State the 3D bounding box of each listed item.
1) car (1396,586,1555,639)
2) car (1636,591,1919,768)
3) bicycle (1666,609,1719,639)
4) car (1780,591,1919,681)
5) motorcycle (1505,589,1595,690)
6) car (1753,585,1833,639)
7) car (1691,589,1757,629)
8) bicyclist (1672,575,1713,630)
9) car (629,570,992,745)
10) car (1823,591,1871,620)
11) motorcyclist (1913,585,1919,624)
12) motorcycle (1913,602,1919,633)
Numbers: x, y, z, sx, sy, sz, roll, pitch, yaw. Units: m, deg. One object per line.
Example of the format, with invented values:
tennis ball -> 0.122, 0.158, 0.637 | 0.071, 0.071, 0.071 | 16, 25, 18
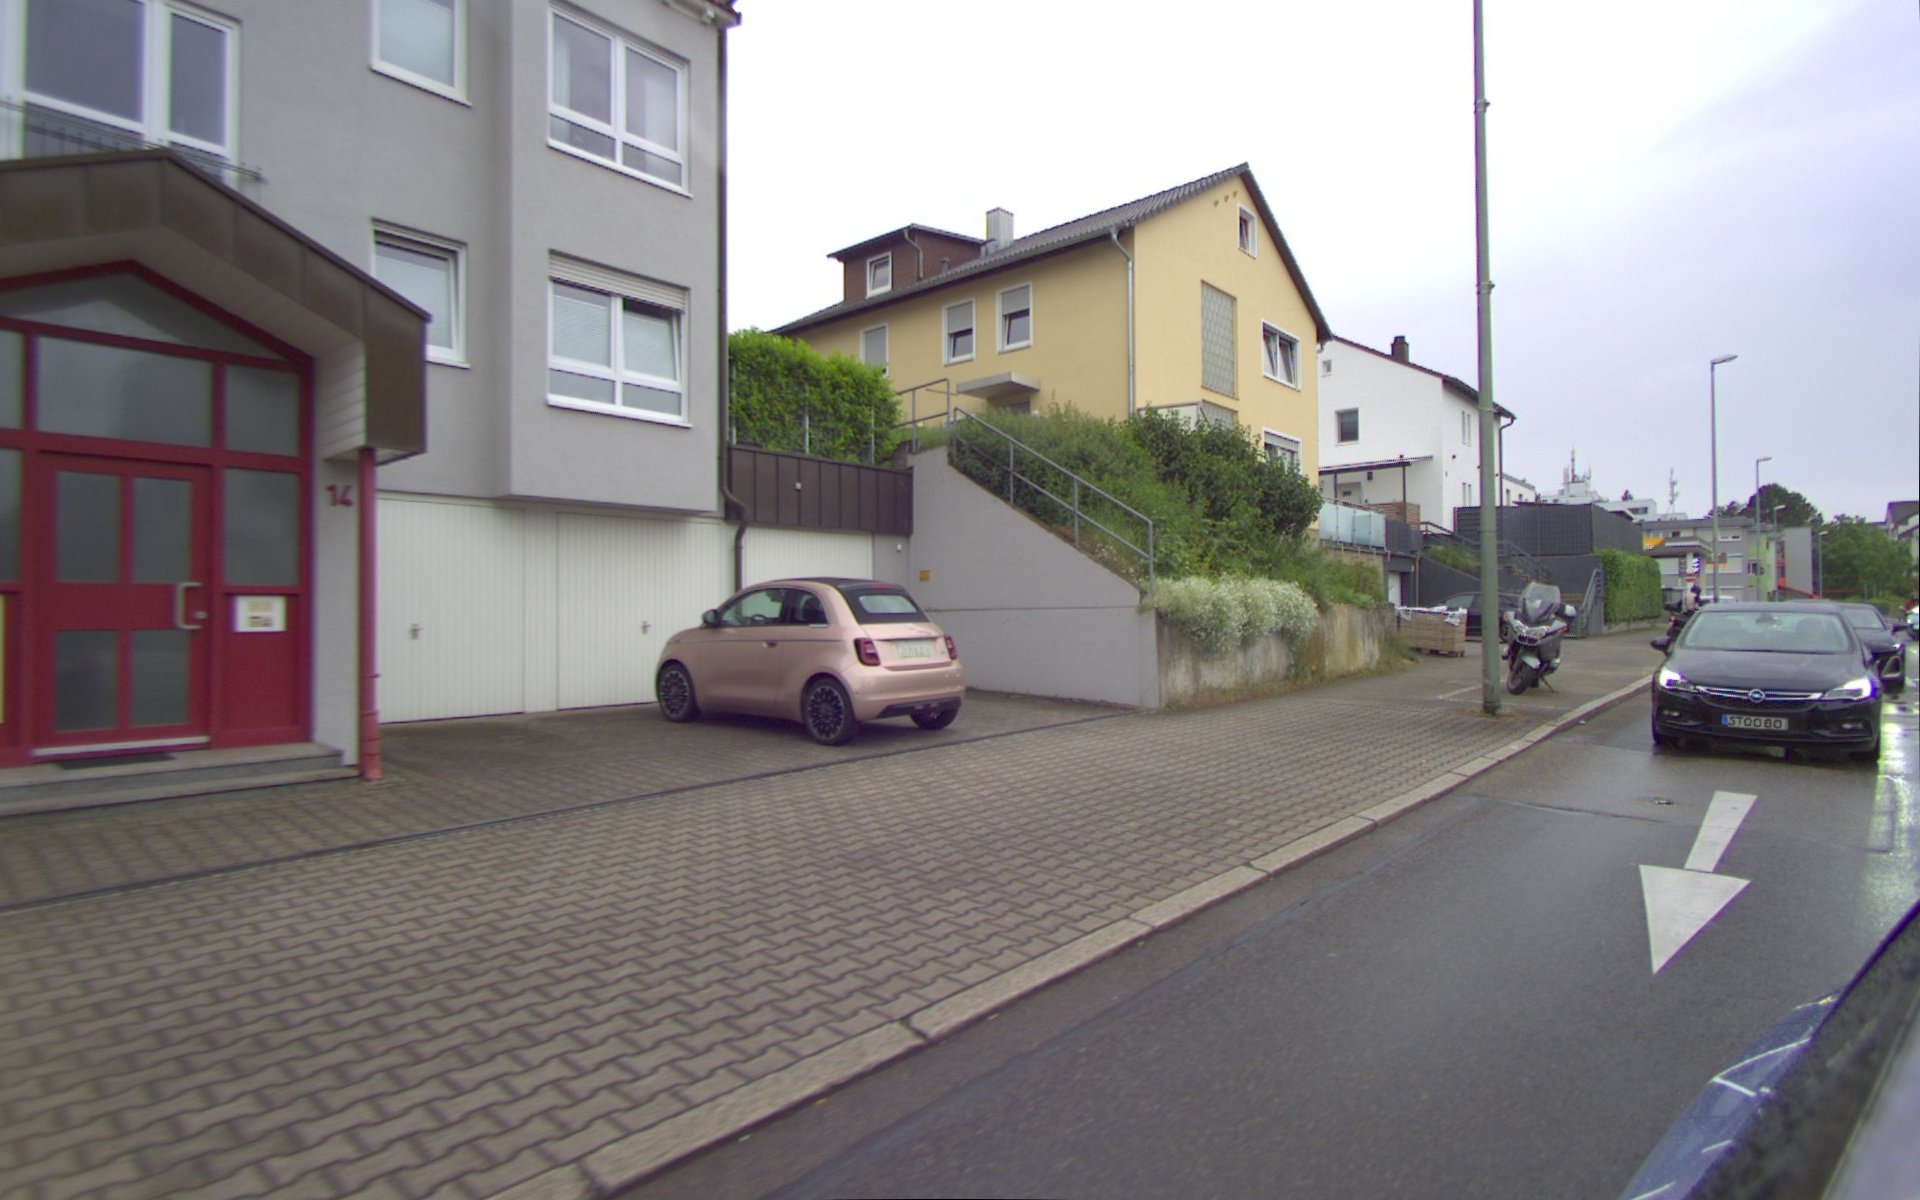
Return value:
car -> 15.135, 0.334, 29.800 | 3.976, 1.420, 1.652 | 1, 1, 36
car -> 8.605, 0.638, 10.402 | 3.932, 1.415, 1.839 | -1, 2, -42
bicycle -> 22.505, 0.722, 31.084 | 2.193, 0.837, 0.733 | 0, 1, -38
car -> 16.176, 0.624, 18.257 | 1.905, 1.416, 4.781 | 1, -1, 42
motorcycle -> 8.563, 0.515, 14.631 | 0.691, 1.341, 2.443 | 1, 1, 40
car -> 26.955, 0.416, 32.706 | 1.835, 1.476, 3.937 | 1, -3, 42
car -> 30.635, 0.307, 40.545 | 1.732, 1.508, 3.939 | 1, 1, 42
bicyclist -> 22.521, 0.071, 31.124 | 0.890, 1.663, 0.809 | 0, 1, -39
car -> -1.638, 0.489, 10.569 | 3.624, 1.504, 1.788 | 0, 0, 38
car -> 48.796, 0.311, 55.748 | 1.833, 1.500, 3.942 | 1, 0, 40
motorcyclist -> 36.109, 0.160, 37.631 | 0.950, 1.439, 0.977 | 0, 0, 44
motorcycle -> 36.213, 0.636, 37.745 | 0.942, 1.121, 2.368 | 0, 1, 44
